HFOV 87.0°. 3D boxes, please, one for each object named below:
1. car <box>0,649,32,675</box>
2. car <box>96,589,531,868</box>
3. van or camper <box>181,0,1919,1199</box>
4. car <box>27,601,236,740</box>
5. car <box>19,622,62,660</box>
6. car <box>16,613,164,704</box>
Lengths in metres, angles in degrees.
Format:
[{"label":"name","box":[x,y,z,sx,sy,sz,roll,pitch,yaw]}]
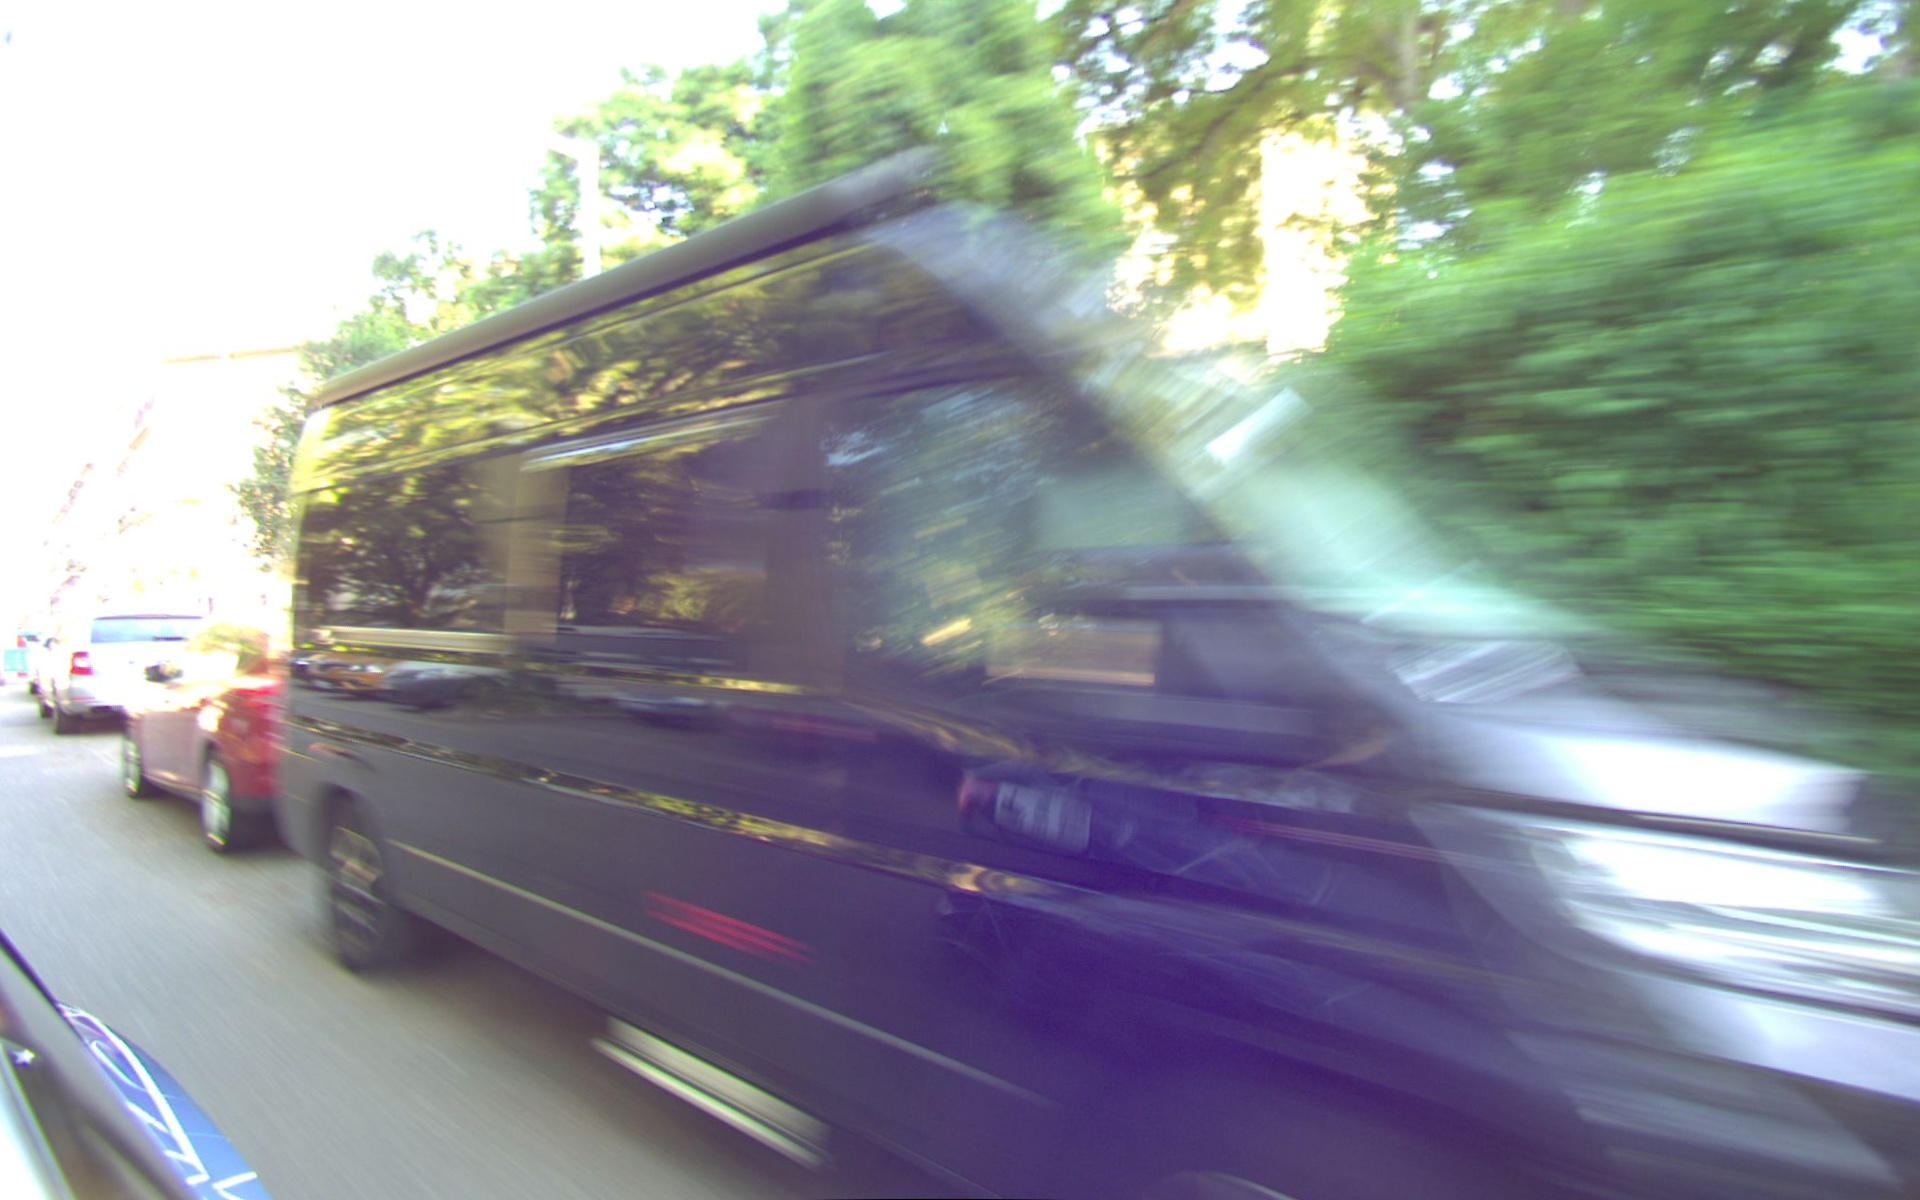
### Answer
[{"label":"car","box":[-70.699,4.613,75.705,1.679,1.764,4.196,1,-2,-44]},{"label":"car","box":[-5.011,0.742,7.588,4.227,1.518,1.681,-1,-2,42]},{"label":"van or camper","box":[-0.469,0.124,3.495,6.417,2.542,2.213,-1,1,41]},{"label":"car","box":[-10.887,0.807,13.169,1.679,1.509,4.552,1,-2,-44]},{"label":"car","box":[-53.201,2.330,58.528,1.679,2.132,4.196,1,-2,-44]},{"label":"car","box":[-15.338,0.941,17.766,1.679,1.410,4.196,1,-2,-44]}]
